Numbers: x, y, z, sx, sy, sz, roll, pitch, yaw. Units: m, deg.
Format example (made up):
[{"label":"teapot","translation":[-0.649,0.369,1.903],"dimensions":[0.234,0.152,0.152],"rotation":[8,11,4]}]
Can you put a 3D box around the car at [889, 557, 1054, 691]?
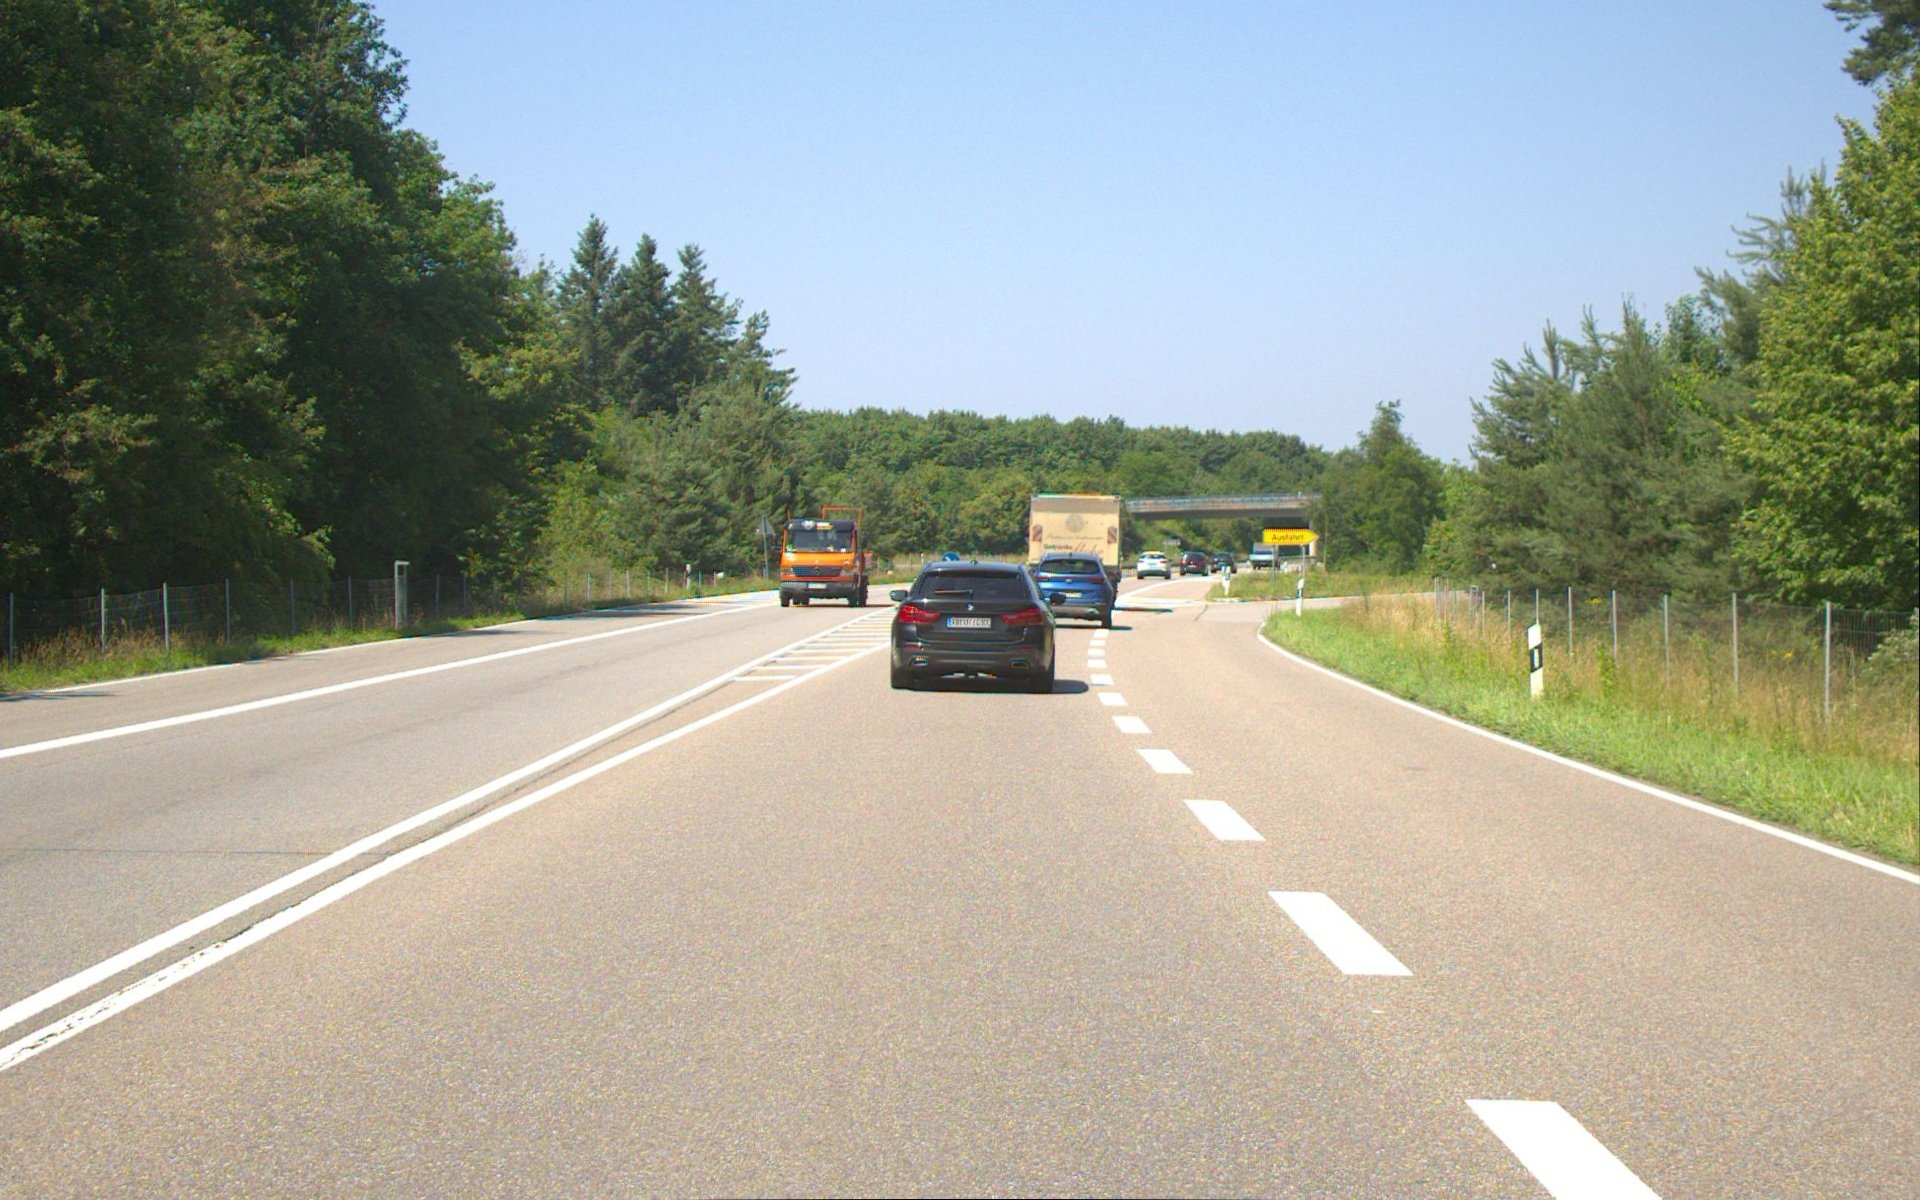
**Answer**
[{"label":"car","translation":[0.133,0.242,40.074],"dimensions":[1.820,1.465,4.000],"rotation":[0,1,0]}]

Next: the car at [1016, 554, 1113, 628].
[{"label":"car","translation":[2.264,-0.223,75.083],"dimensions":[1.947,1.536,4.000],"rotation":[-1,1,0]}]

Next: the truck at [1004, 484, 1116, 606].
[{"label":"truck","translation":[2.843,-1.608,99.177],"dimensions":[2.965,3.376,6.438],"rotation":[0,1,-1]}]

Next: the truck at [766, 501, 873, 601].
[{"label":"truck","translation":[-3.948,-1.393,97.758],"dimensions":[2.399,2.713,6.551],"rotation":[1,1,3]}]

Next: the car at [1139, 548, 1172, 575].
[{"label":"car","translation":[11.715,-2.322,205.890],"dimensions":[1.863,1.600,4.000],"rotation":[1,1,2]}]

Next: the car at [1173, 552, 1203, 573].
[{"label":"car","translation":[15.723,-2.587,237.300],"dimensions":[1.994,1.415,4.000],"rotation":[1,1,3]}]
